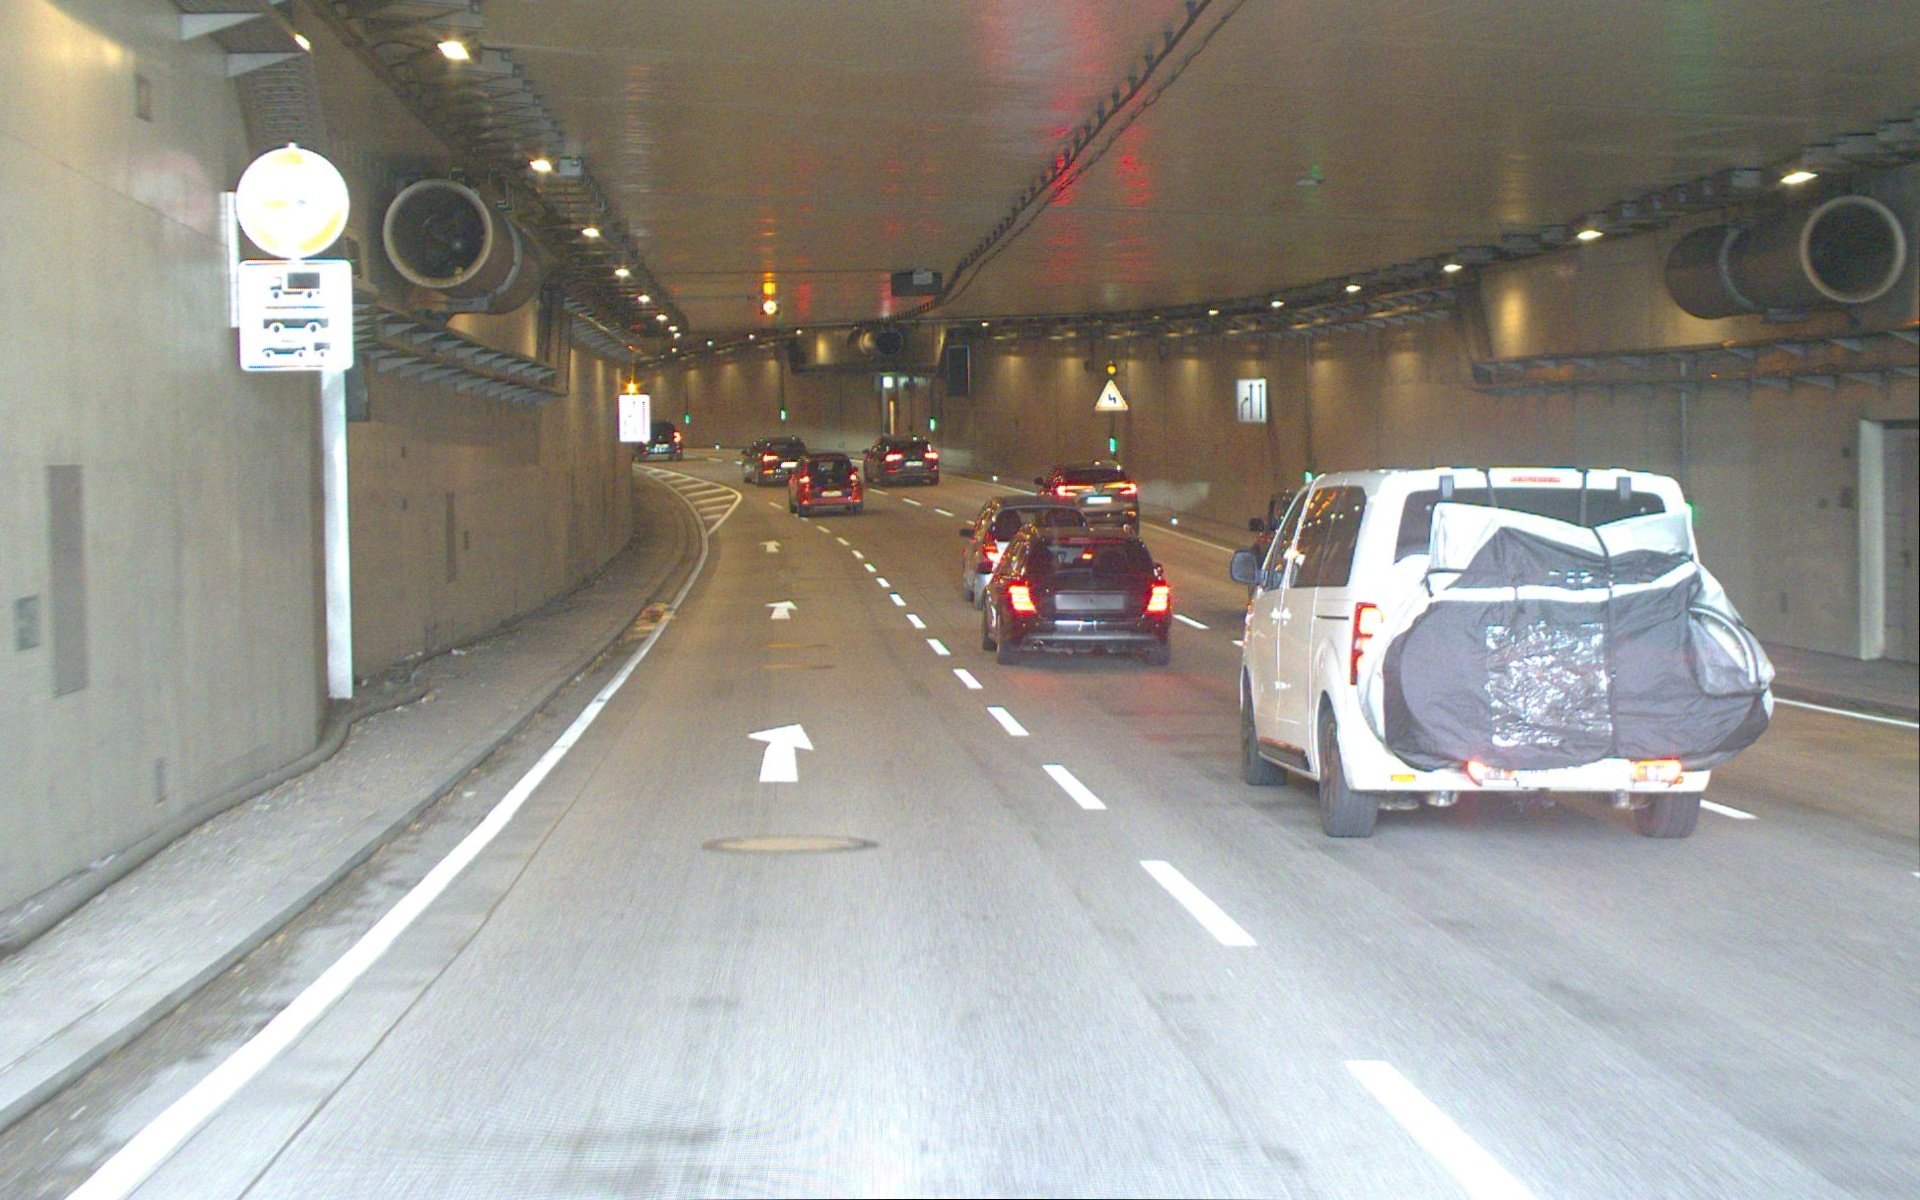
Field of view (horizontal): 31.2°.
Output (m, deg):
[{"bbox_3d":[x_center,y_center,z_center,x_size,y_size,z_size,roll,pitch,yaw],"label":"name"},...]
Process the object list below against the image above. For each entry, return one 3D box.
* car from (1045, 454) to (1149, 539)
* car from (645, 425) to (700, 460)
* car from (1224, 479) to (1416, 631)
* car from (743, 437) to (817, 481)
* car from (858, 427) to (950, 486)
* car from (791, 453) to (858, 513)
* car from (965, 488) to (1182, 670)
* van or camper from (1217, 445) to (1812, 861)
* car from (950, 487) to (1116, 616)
[{"bbox_3d":[2.873,-2.220,72.768,1.660,1.628,3.568,3,3,-5],"label":"car"},{"bbox_3d":[-10.738,-5.876,128.405,1.508,1.242,3.568,-2,2,-13],"label":"car"},{"bbox_3d":[4.672,-0.636,45.167,1.818,1.743,4.001,3,3,-3],"label":"car"},{"bbox_3d":[-5.455,-4.251,103.870,1.663,1.242,3.568,0,1,-12],"label":"car"},{"bbox_3d":[-1.689,-4.237,101.928,1.989,1.670,4.510,0,1,-11],"label":"car"},{"bbox_3d":[-3.440,-2.960,87.400,1.660,1.483,3.568,0,1,-2],"label":"car"},{"bbox_3d":[1.119,-0.266,35.679,1.818,1.678,4.001,1,3,-4],"label":"car"},{"bbox_3d":[2.711,0.185,18.272,1.993,1.839,5.509,1,1,-3],"label":"van or camper"},{"bbox_3d":[0.987,-0.718,48.528,1.818,1.575,4.001,3,3,-5],"label":"car"}]
